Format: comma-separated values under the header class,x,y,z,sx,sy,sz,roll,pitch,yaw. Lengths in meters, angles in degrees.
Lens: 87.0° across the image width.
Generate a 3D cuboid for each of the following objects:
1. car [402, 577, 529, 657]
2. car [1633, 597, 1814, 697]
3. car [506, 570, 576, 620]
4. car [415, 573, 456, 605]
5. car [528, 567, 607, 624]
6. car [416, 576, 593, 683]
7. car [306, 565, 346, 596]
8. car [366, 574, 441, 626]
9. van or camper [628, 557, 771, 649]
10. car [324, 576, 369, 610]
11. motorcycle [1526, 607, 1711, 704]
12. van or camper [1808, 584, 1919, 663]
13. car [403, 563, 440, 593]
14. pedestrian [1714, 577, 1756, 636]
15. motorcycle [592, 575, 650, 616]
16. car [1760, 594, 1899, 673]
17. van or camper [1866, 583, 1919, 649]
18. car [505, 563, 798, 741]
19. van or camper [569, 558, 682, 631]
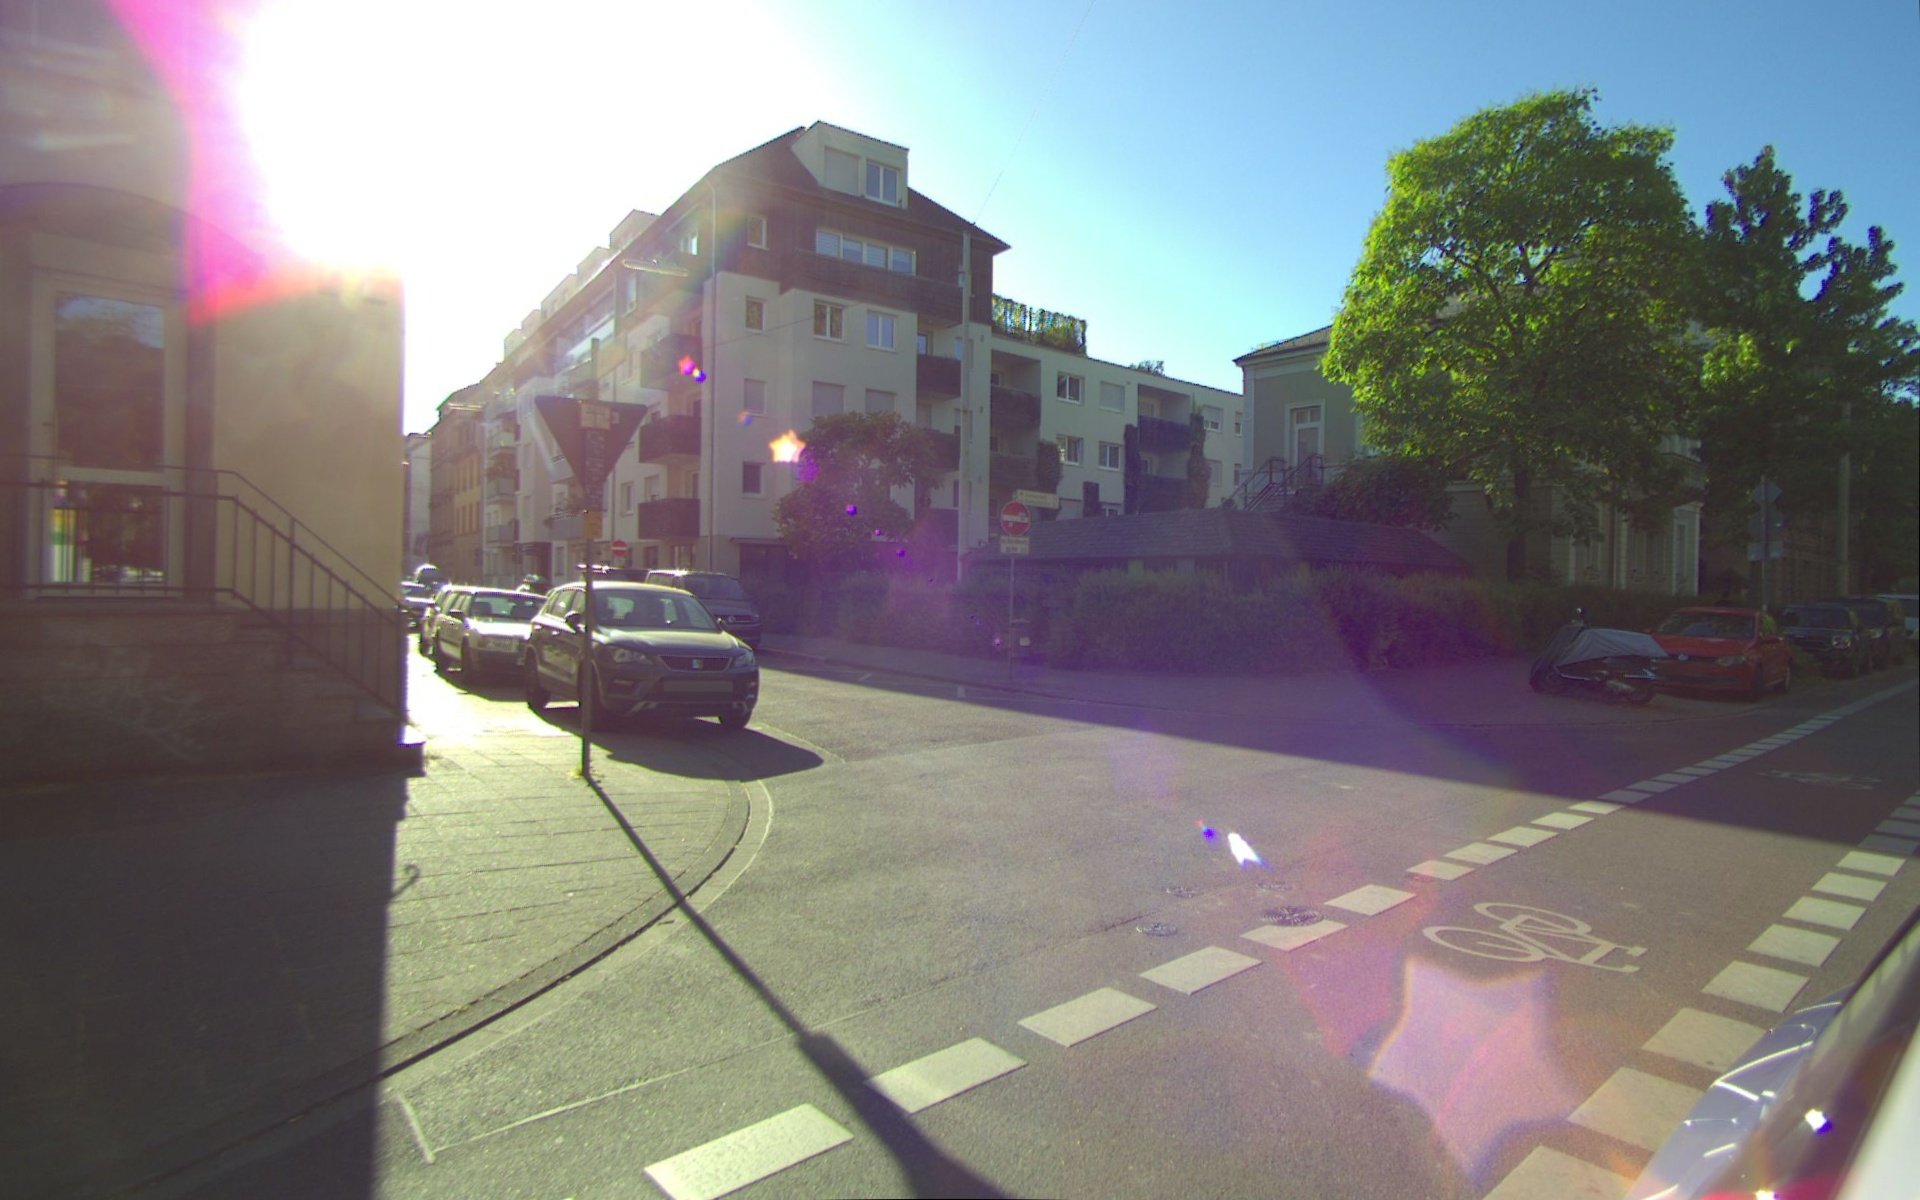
class,x,y,z,sx,sy,sz,roll,pitch,yaw
car,-10.571,0.318,21.480,1.674,1.494,4.198,3,-1,-36
car,12.750,0.690,16.826,3.797,1.397,1.607,0,3,-41
car,-16.467,-0.199,39.667,1.728,1.881,3.651,1,0,-36
car,-32.394,-0.679,62.470,1.728,1.881,3.651,1,0,-36
car,-13.880,-0.160,35.687,1.728,1.881,3.651,1,0,-36
car,-7.632,0.414,16.688,1.674,1.515,4.822,3,-1,-36
car,-43.330,-1.315,69.123,1.926,1.952,4.198,3,-1,-36
car,-18.968,-0.018,34.421,1.674,1.593,4.198,3,-1,-36
van or camper,-6.589,0.041,25.253,1.894,2.090,4.596,1,0,-36
car,-34.284,-0.406,56.473,1.759,1.777,4.198,3,-1,-36
motorcycle,9.647,0.773,14.911,0.812,1.172,2.074,0,4,-36
van or camper,23.486,0.534,26.134,4.365,1.804,1.694,0,3,-41
car,-35.949,-1.442,67.533,1.728,1.881,3.651,1,0,-36
pedestrian,23.000,0.178,30.032,0.869,1.699,0.813,0,0,-41
motorcycle,-12.226,-0.176,36.404,1.077,1.426,3.142,0,1,-36
car,19.258,0.672,22.362,4.070,1.505,1.694,0,3,-41
van or camper,30.375,0.482,32.007,4.837,1.906,1.882,0,3,-41
car,-3.772,0.488,11.791,1.866,1.660,4.462,3,-1,-36
van or camper,-10.085,-0.174,30.268,1.894,2.007,4.596,1,0,-36
